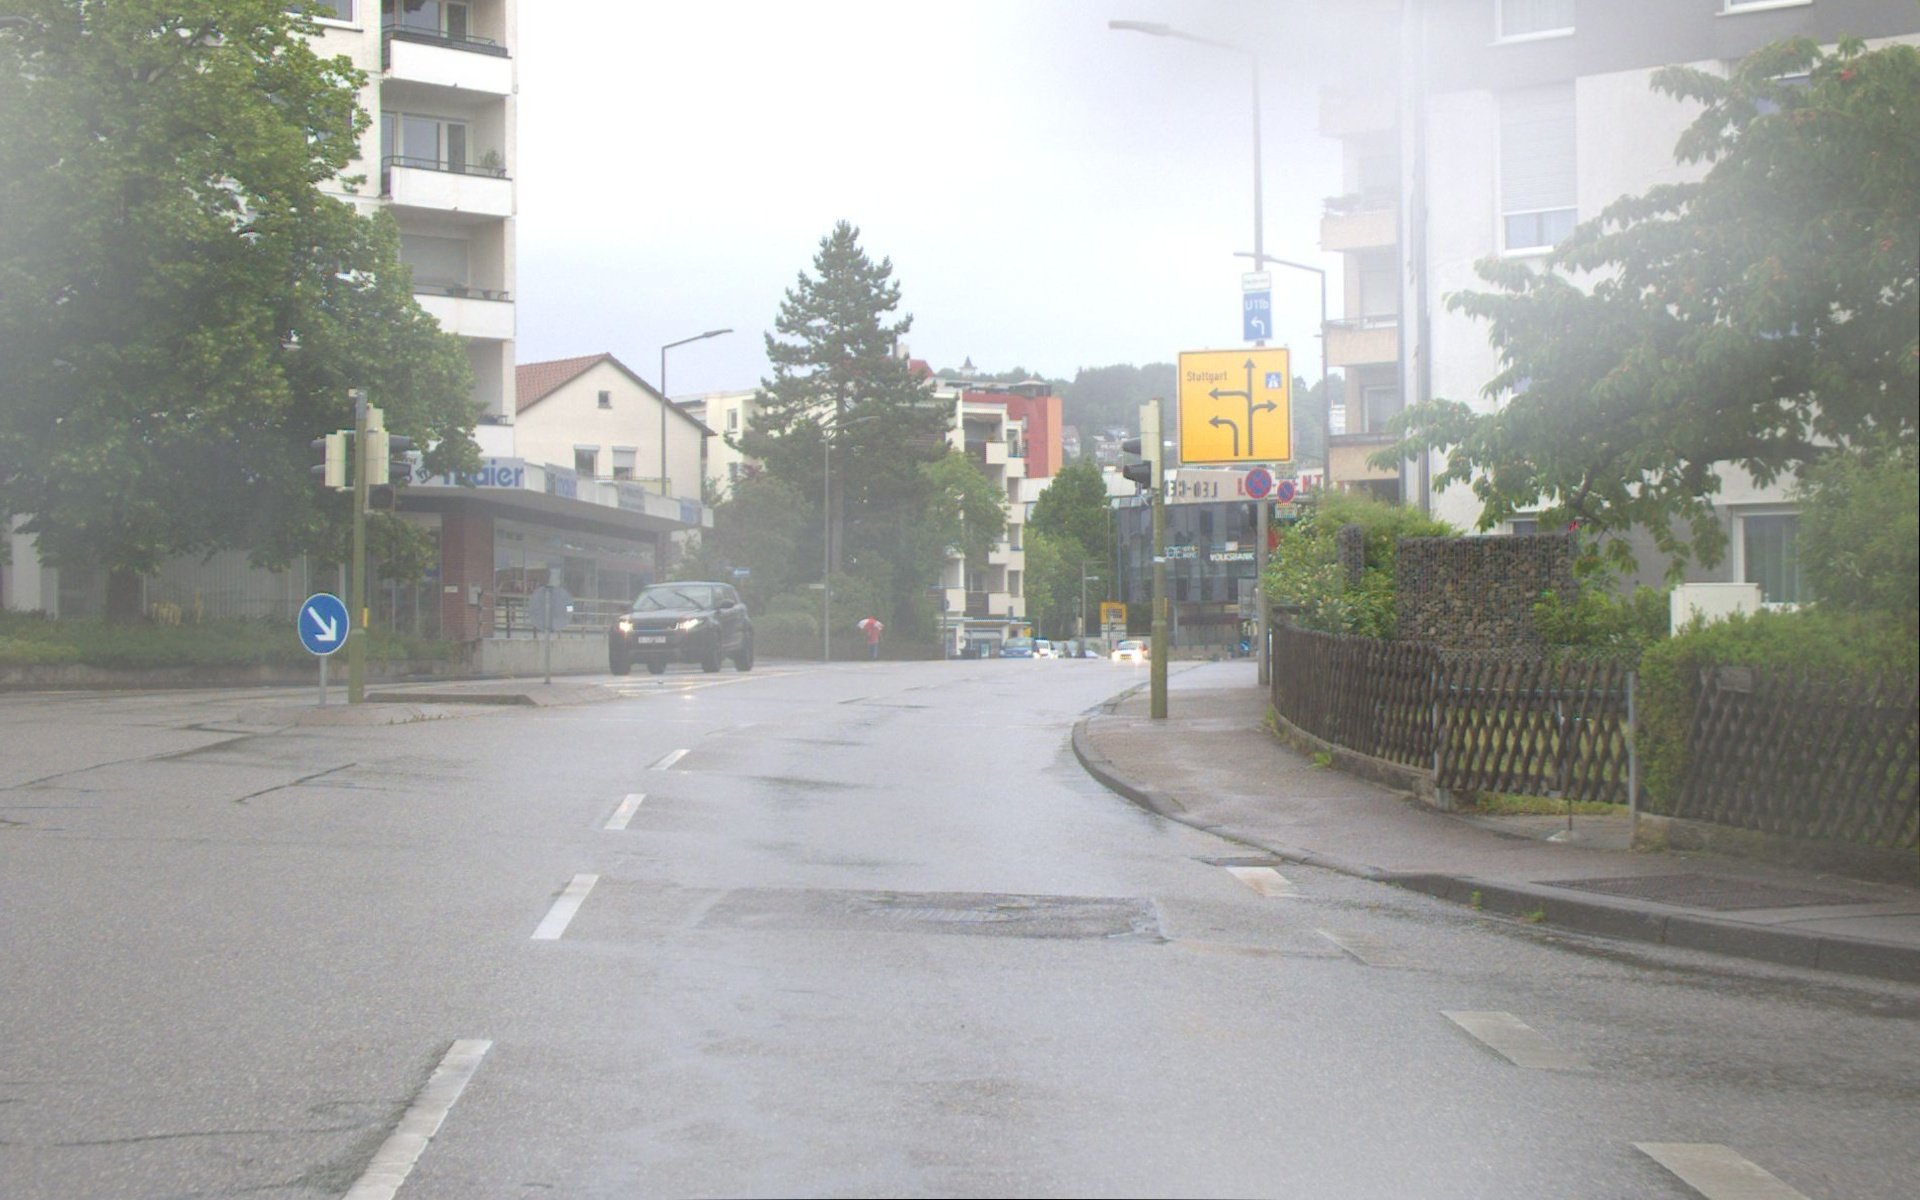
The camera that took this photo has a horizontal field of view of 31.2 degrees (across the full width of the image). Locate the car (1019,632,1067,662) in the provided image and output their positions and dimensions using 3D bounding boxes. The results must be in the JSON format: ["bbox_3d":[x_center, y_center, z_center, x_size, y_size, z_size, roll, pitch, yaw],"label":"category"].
[{"bbox_3d":[4.389,2.485,180.774,1.935,1.536,4.519,0,-1,9],"label":"car"}]

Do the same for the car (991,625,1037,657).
[{"bbox_3d":[2.656,2.032,169.559,1.652,1.516,4.322,0,-1,9],"label":"car"}]

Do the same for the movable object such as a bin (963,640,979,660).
[{"bbox_3d":[0.523,2.425,165.578,0.648,0.962,0.682,-1,-1,9],"label":"movable object such as a bin"}]

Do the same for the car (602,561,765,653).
[{"bbox_3d":[-4.850,0.107,60.869,1.803,1.551,4.316,0,0,10],"label":"car"}]
